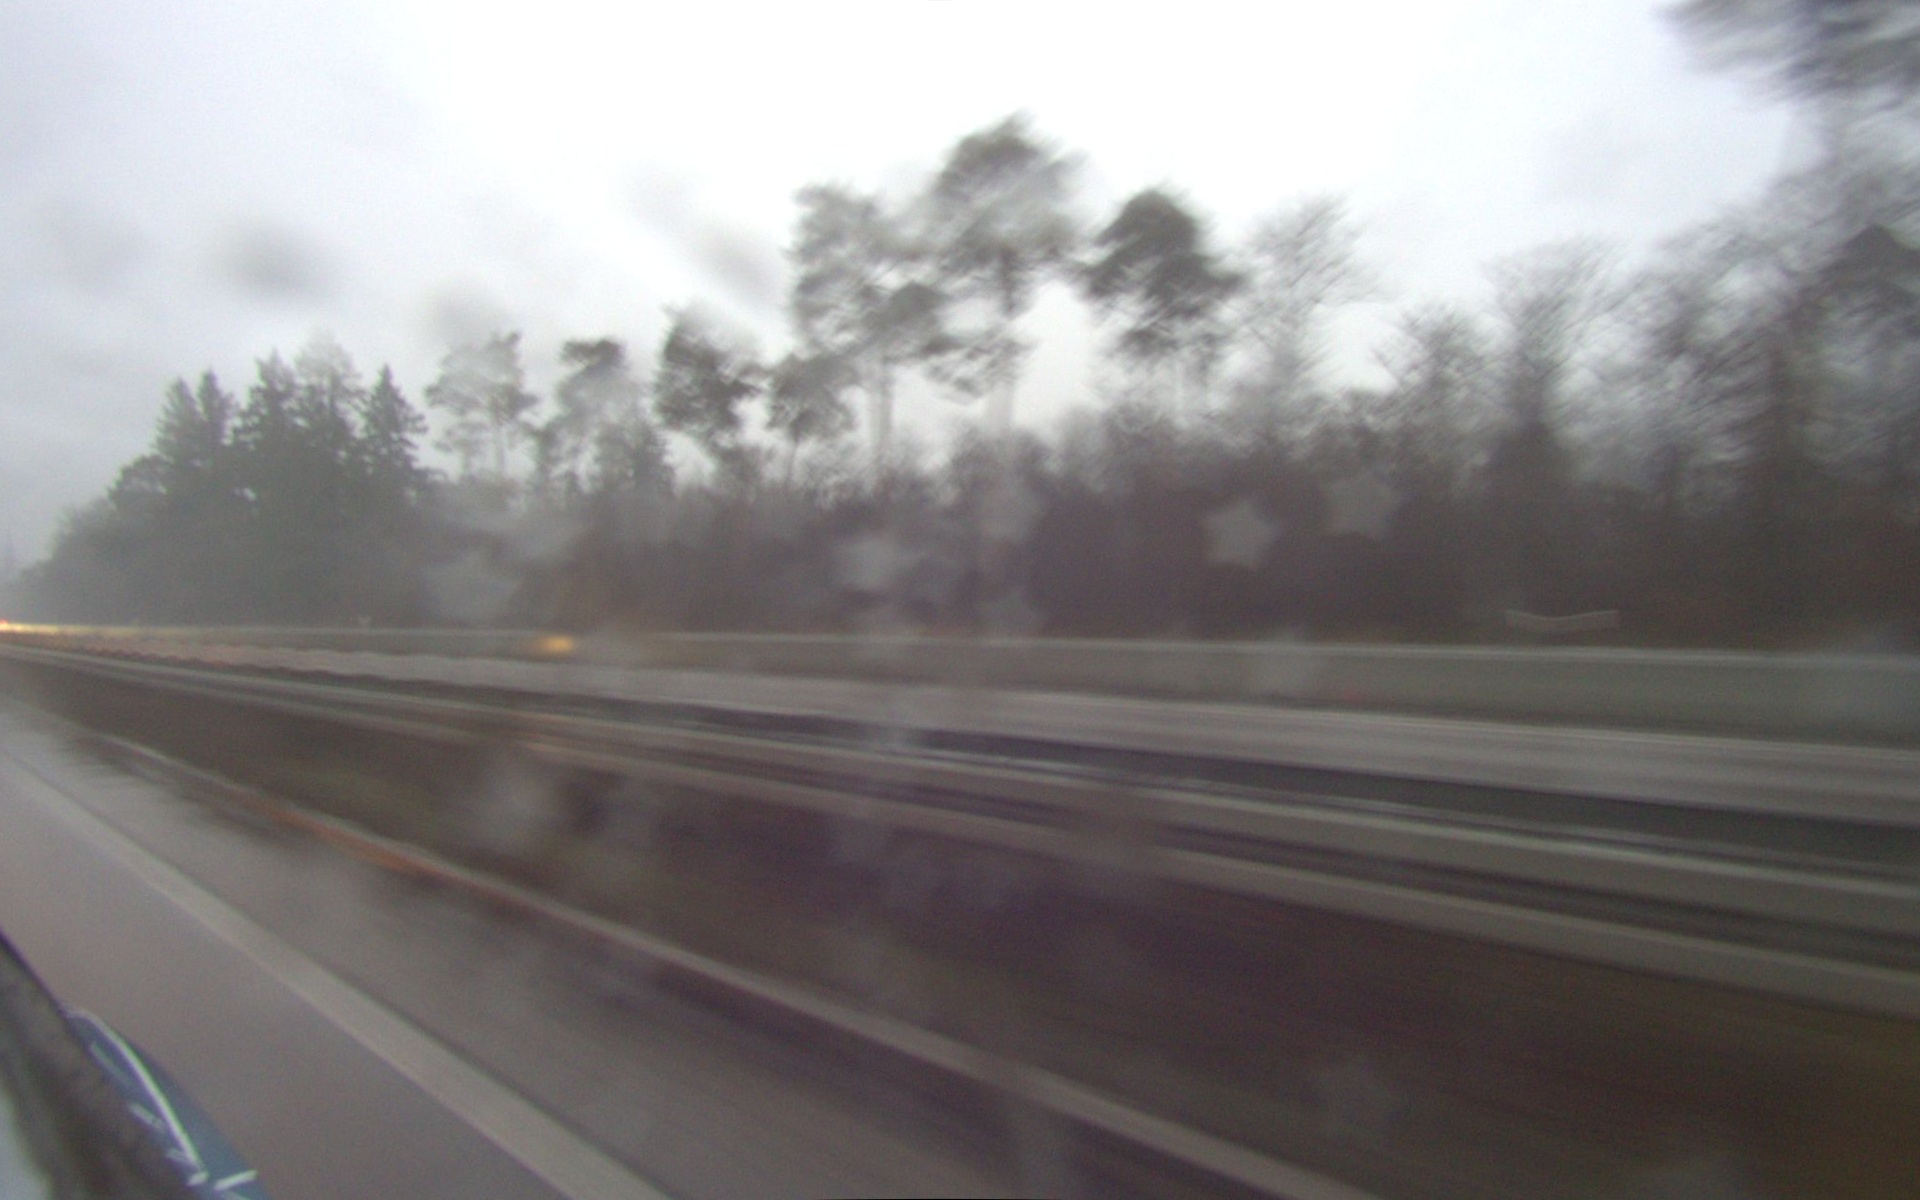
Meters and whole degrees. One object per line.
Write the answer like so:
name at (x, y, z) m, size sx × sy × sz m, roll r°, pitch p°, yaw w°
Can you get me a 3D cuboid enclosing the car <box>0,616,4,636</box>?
car at (-99.828, 2.722, 103.827) m, size 4.780 × 2.029 × 1.973 m, roll -1°, pitch -1°, yaw 40°
